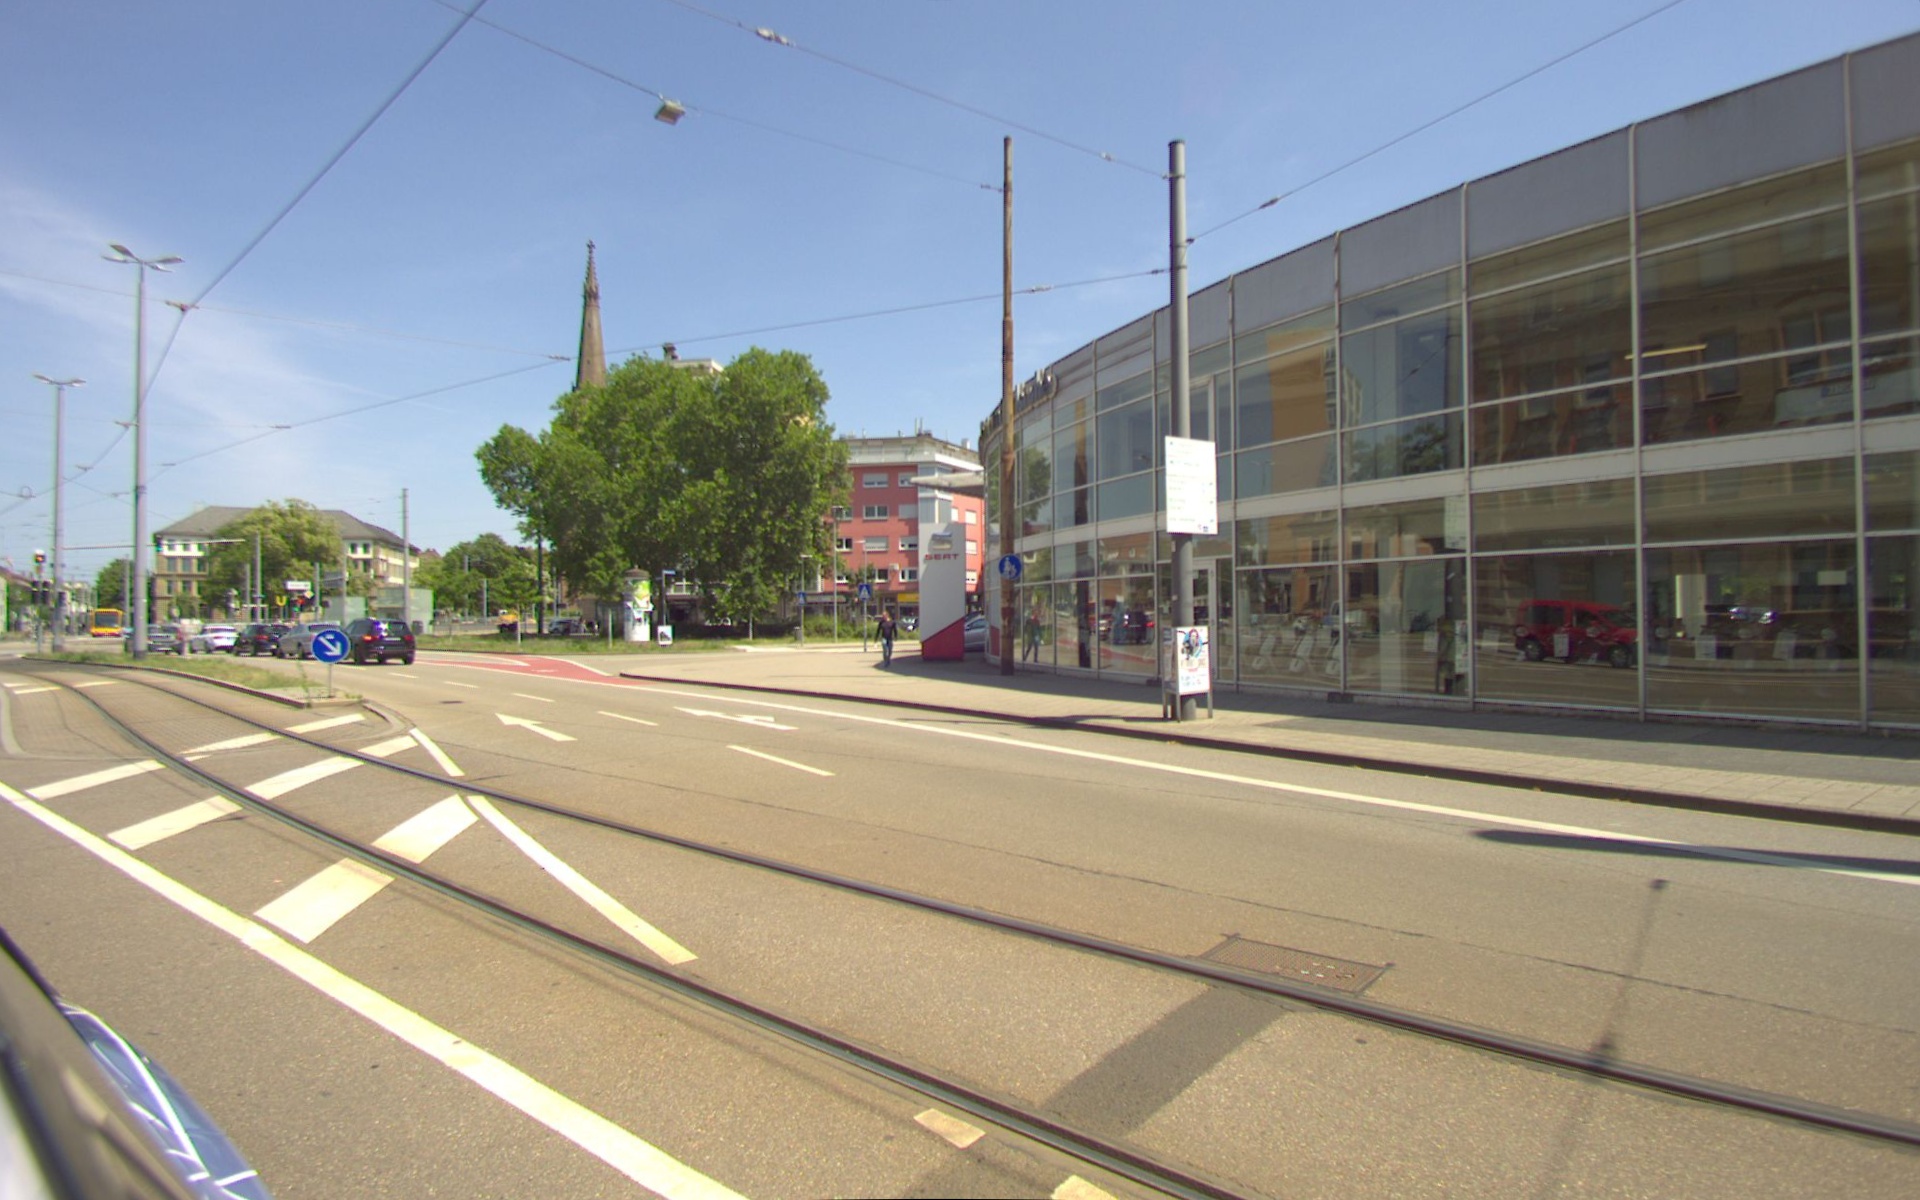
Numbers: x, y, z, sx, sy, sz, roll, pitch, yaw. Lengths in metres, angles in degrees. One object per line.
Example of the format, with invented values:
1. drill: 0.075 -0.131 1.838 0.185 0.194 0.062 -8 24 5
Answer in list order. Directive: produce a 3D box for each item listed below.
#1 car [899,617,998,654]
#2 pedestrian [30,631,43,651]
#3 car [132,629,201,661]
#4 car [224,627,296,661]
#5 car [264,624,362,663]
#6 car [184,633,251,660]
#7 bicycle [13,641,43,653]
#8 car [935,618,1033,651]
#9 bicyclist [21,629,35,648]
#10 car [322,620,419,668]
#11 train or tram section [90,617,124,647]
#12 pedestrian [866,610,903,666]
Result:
1. car: -0.453 1.474 42.283 4.004 1.468 1.500 -1 -1 5
2. pedestrian: -80.042 3.554 87.708 0.447 1.684 0.651 -1 -1 24
3. car: -38.091 2.169 48.536 4.327 1.491 1.824 -3 -3 41
4. car: -31.703 1.956 45.794 3.900 1.473 1.654 -2 -3 39
5. car: -27.079 1.784 42.308 5.126 1.542 1.973 -1 -3 40
6. car: -37.583 2.331 51.179 4.199 1.309 1.690 -1 -3 39
7. bicycle: -81.080 4.043 88.057 0.527 0.986 1.884 -2 -2 35
8. car: 1.082 1.538 45.608 4.150 1.431 1.604 -1 -1 16
9. bicyclist: -81.146 3.357 88.122 0.527 1.701 0.803 -2 -2 35
10. car: -21.578 1.601 36.995 4.525 1.639 1.802 -2 -3 43
11. train or tram section: -97.237 3.605 115.293 2.800 3.238 9.122 0 -2 -41
12. pedestrian: -2.271 1.133 30.297 0.820 1.654 0.720 -2 -2 43
